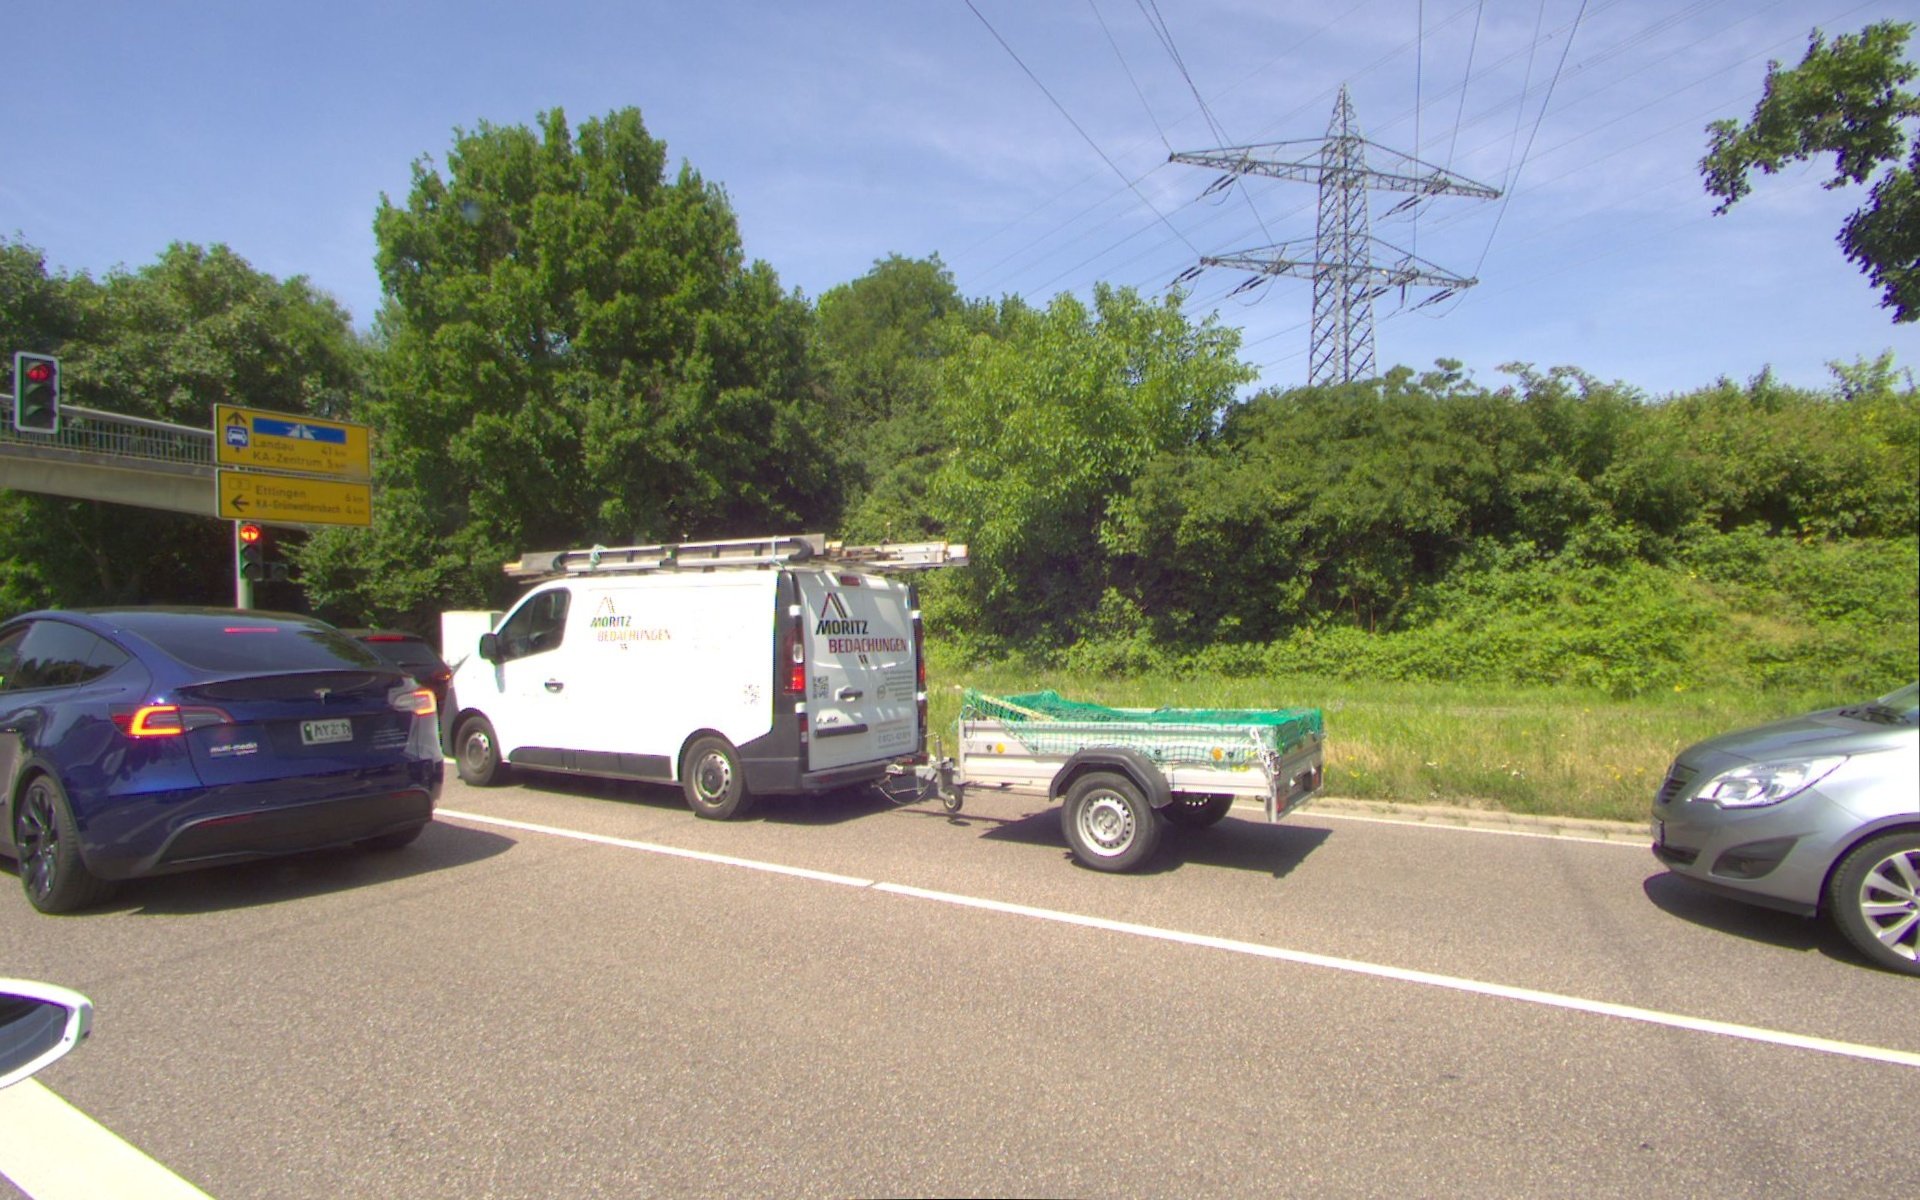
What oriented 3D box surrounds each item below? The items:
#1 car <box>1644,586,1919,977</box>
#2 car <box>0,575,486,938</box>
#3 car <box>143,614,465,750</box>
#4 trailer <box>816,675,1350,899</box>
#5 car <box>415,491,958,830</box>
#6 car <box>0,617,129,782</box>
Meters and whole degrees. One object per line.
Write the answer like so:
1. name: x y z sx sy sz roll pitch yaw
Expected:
1. car: 5.436 0.746 4.245 4.105 1.616 1.761 -1 0 32
2. car: -5.326 0.765 6.600 4.455 1.665 1.897 -1 -1 32
3. car: -8.582 0.951 13.022 4.318 1.497 1.897 -1 -2 32
4. trailer: 0.812 1.113 6.923 3.276 1.019 1.703 -1 -1 32
5. car: -2.640 0.480 9.183 5.002 2.379 1.929 -1 -1 32
6. car: -10.342 0.920 10.109 3.882 1.497 1.897 -1 -2 32
